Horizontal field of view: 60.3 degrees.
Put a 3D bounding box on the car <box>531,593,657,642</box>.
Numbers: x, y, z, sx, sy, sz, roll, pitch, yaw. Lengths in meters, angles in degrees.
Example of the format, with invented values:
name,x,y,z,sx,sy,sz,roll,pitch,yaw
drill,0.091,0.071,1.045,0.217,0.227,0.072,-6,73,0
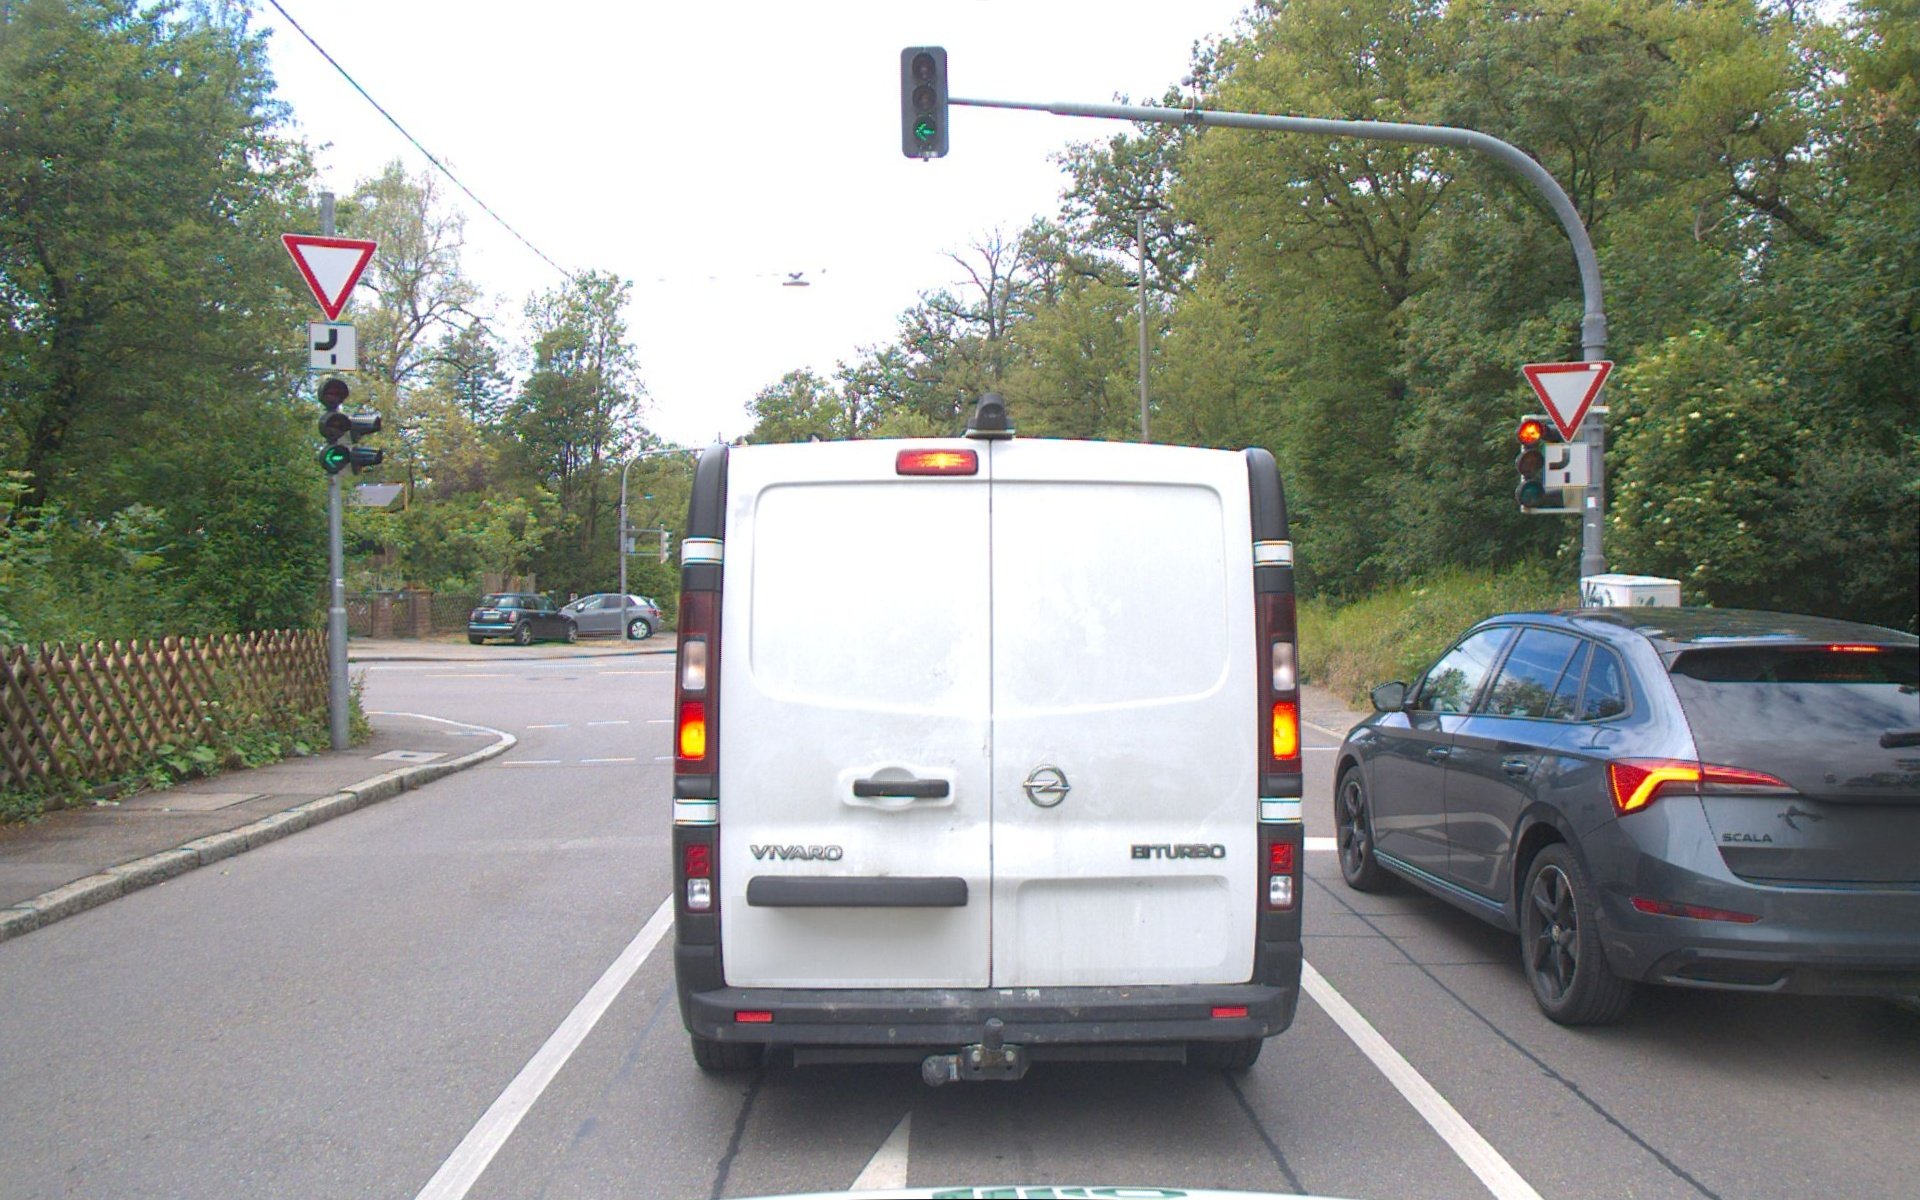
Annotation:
name,x,y,z,sx,sy,sz,roll,pitch,yaw
car,-12.410,0.578,56.065,4.023,1.580,1.845,0,1,-18

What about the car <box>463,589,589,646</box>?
name,x,y,z,sx,sy,sz,roll,pitch,yaw
car,-11.963,0.470,45.824,1.662,1.474,3.544,2,0,19

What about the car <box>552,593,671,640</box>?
name,x,y,z,sx,sy,sz,roll,pitch,yaw
car,-12.464,0.563,59.083,4.023,1.580,1.845,0,1,-18

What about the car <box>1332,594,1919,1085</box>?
name,x,y,z,sx,sy,sz,roll,pitch,yaw
car,2.974,0.720,7.065,1.756,1.476,3.999,0,0,-2

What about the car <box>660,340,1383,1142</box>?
name,x,y,z,sx,sy,sz,roll,pitch,yaw
car,0.060,0.371,6.693,1.878,2.089,4.611,1,0,-3
